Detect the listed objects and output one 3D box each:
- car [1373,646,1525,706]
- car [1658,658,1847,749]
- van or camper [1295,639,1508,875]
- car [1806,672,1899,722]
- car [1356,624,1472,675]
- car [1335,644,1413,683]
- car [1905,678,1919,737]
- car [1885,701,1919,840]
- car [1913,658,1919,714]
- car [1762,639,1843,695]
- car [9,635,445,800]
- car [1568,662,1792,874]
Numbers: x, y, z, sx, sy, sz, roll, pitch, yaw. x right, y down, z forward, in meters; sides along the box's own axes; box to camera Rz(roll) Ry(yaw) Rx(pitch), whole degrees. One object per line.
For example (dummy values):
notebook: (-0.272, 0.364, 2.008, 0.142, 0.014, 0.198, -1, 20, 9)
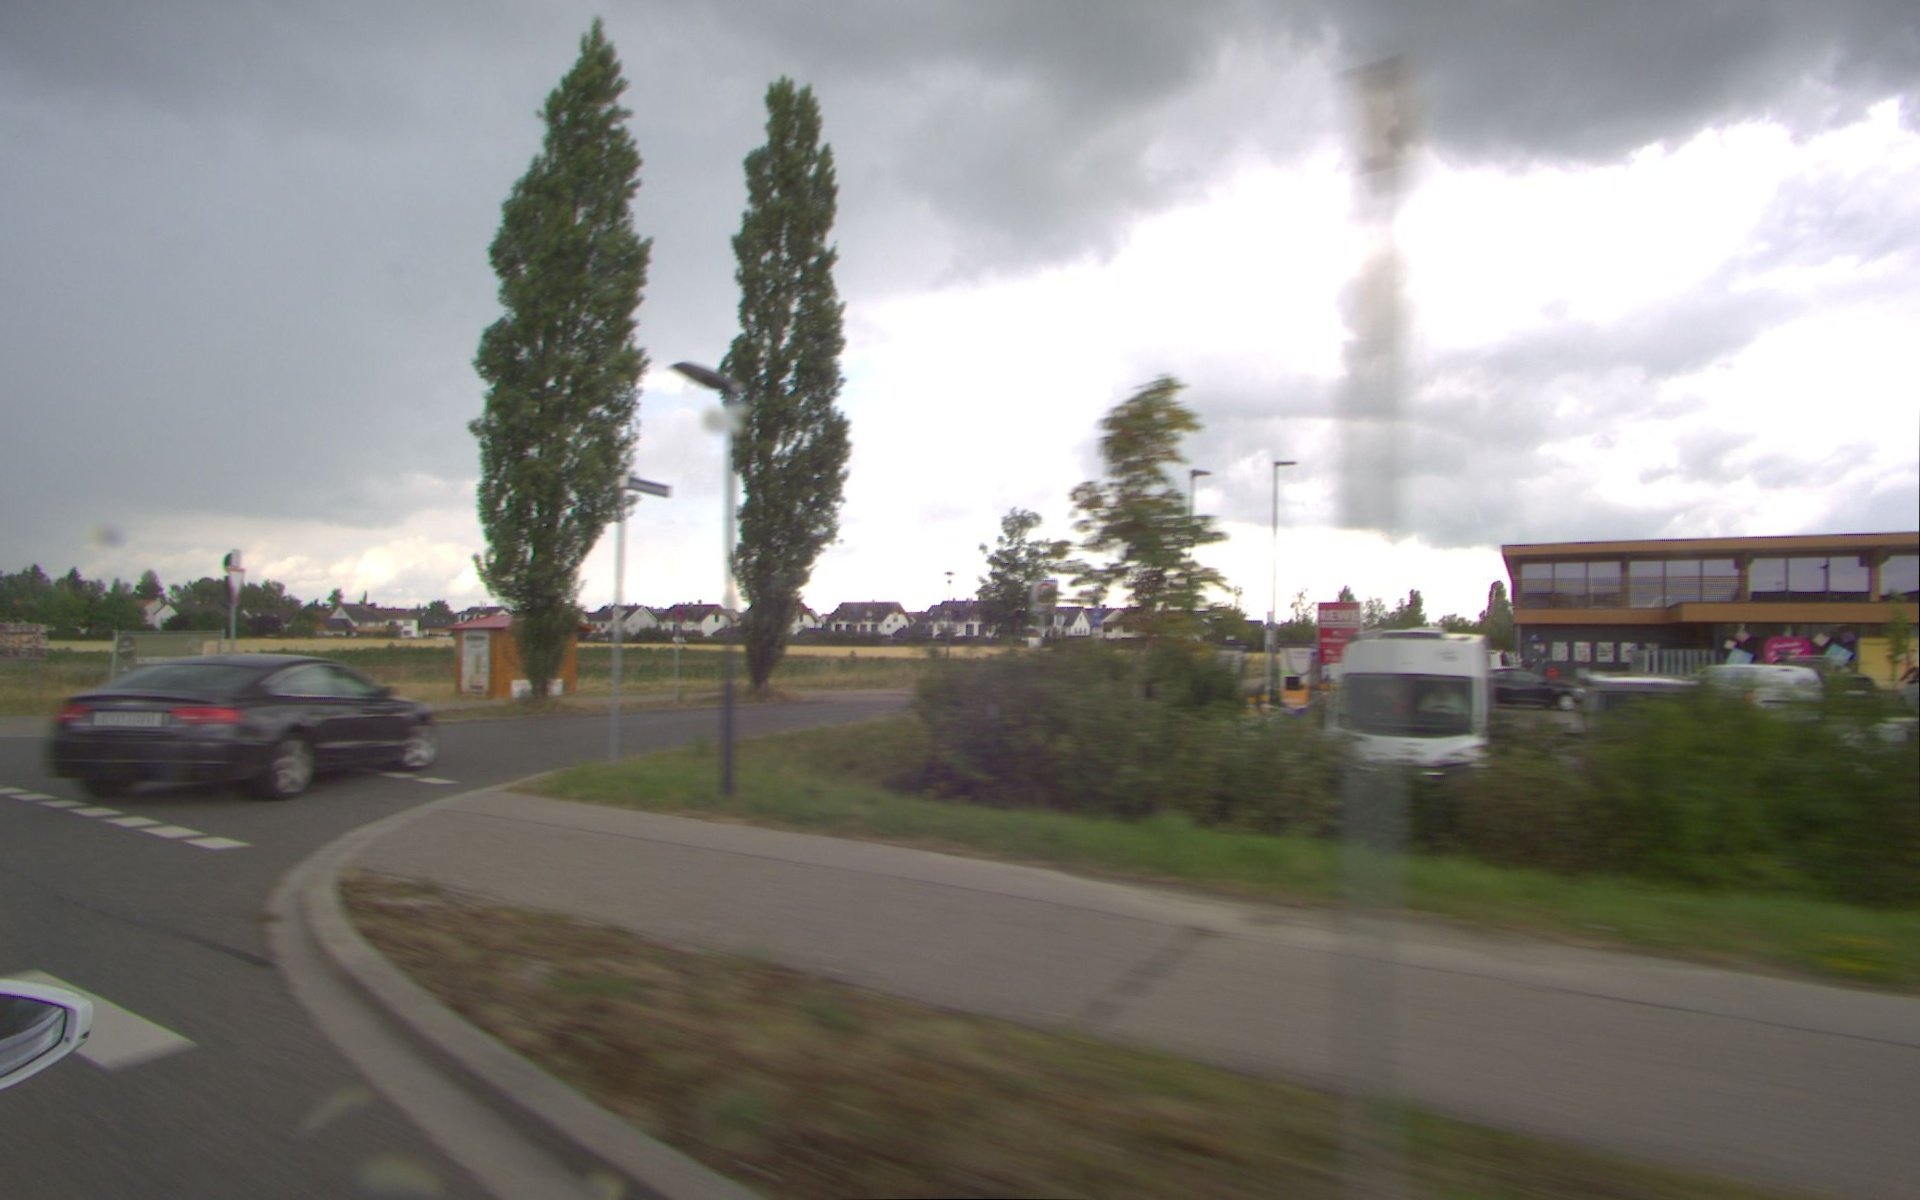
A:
car: (19.098, 2.903, 39.213, 5.160, 2.040, 1.989, 0, 0, 34)
car: (20.831, 2.637, 26.643, 2.071, 1.931, 4.938, 0, 0, 14)
van or camper: (6.768, 1.929, 14.807, 2.247, 2.496, 6.458, 0, 0, 30)
car: (30.914, 3.327, 34.799, 1.748, 1.400, 3.456, 0, 0, 30)
car: (19.271, 2.047, 42.537, 4.226, 2.040, 1.989, 0, 0, 34)
car: (24.039, 3.647, 58.209, 3.943, 2.040, 1.989, 0, 0, 32)
car: (25.235, 2.799, 24.701, 1.874, 1.451, 4.172, 0, 0, 30)
car: (12.123, 2.161, 11.043, 1.732, 1.619, 5.088, 0, 0, 30)
car: (34.123, 3.022, 33.782, 2.008, 1.936, 3.887, 0, 0, 30)
car: (34.601, 2.684, 41.232, 1.824, 2.037, 4.211, 0, 0, 30)
car: (-7.464, 1.210, 10.889, 1.796, 1.404, 4.393, 0, -5, -6)
car: (9.324, 1.976, 13.349, 1.970, 2.040, 4.586, 0, 0, 30)
